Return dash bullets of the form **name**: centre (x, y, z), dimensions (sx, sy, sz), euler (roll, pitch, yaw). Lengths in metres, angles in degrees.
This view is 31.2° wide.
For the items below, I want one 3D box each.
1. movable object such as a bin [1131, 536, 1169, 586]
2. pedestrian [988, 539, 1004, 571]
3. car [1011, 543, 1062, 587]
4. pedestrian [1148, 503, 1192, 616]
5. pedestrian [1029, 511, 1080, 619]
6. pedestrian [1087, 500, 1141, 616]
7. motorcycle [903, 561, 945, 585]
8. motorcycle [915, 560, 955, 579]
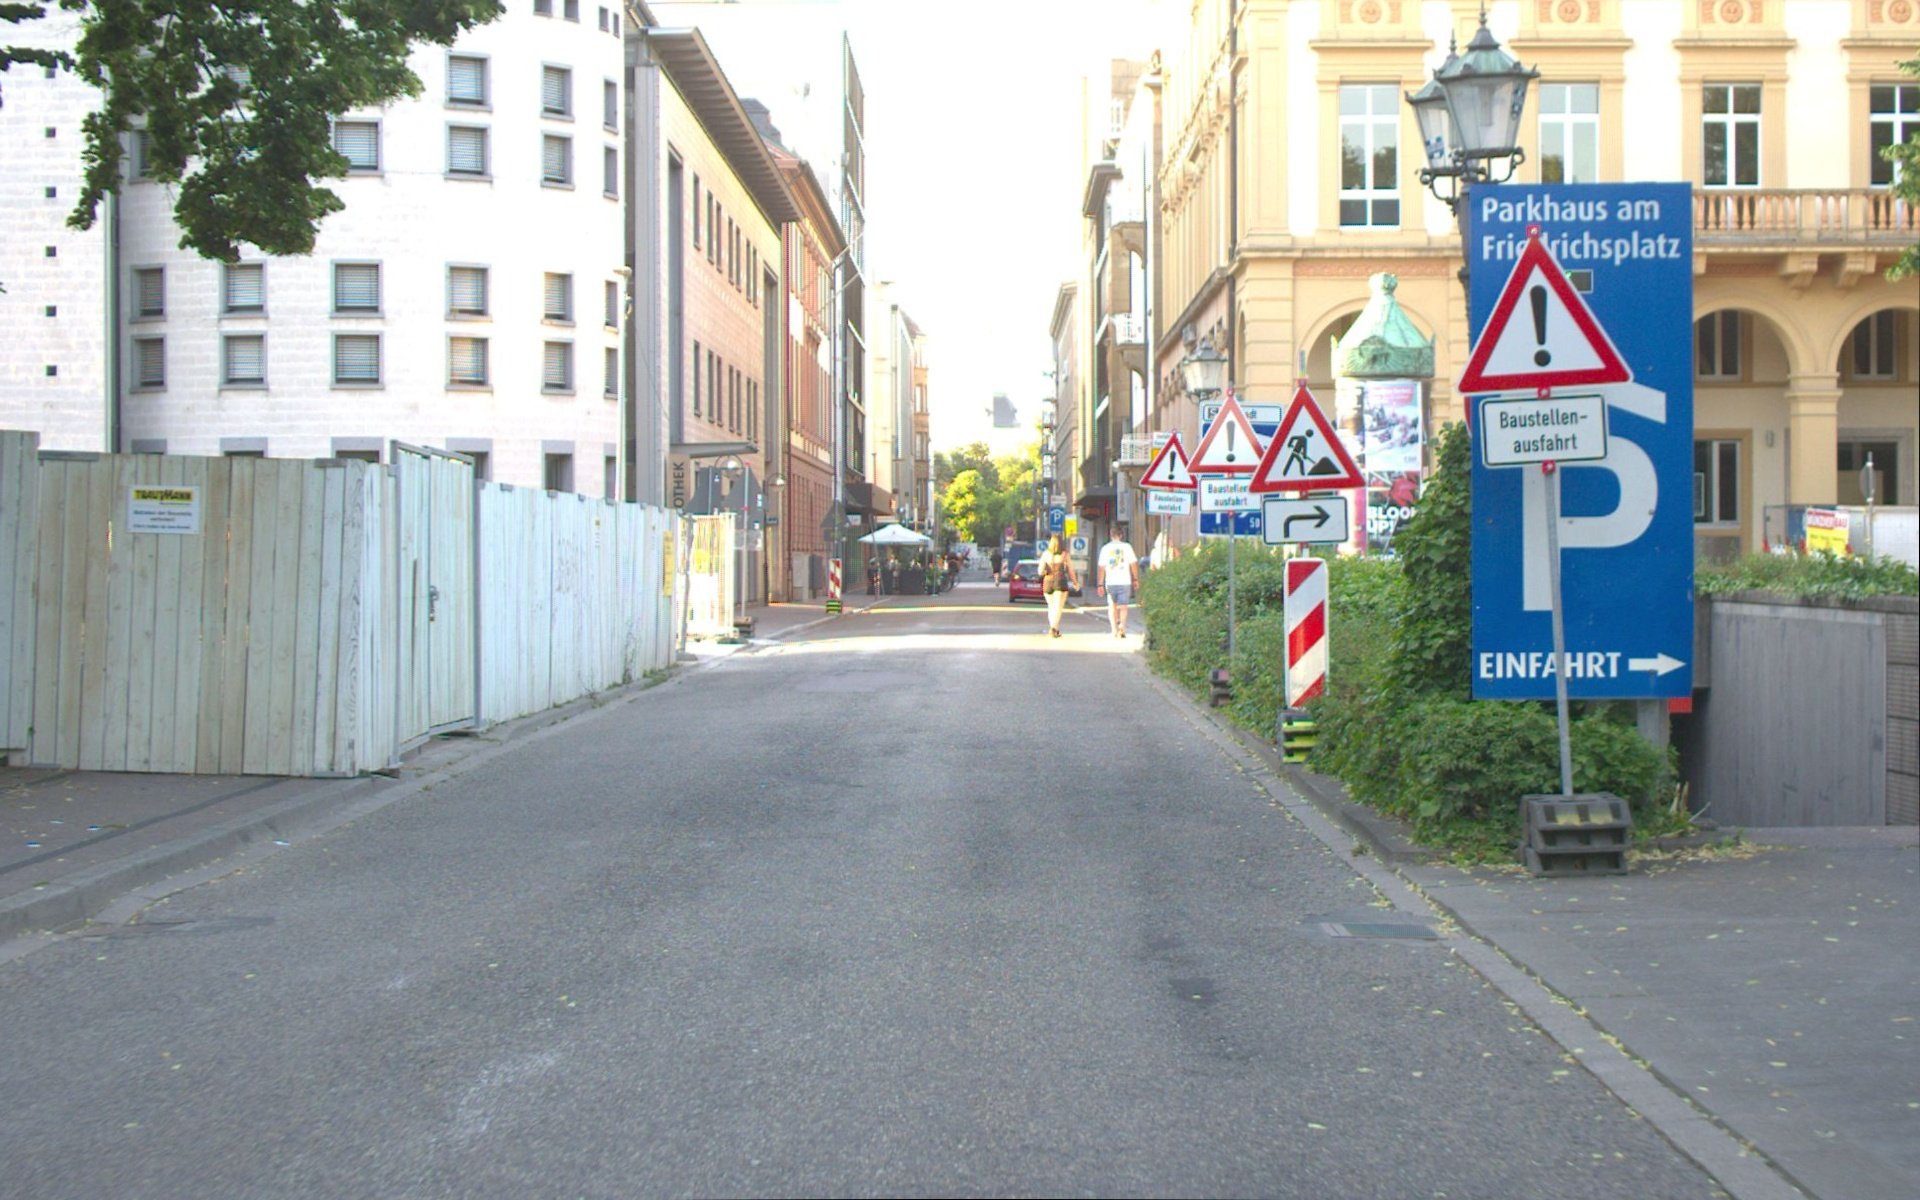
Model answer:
- **movable object such as a bin**: centre (5.341, -1.093, 96.807), dimensions (0.990, 1.387, 1.240), euler (-1, 0, 0)
- **pedestrian**: centre (1.899, -2.377, 181.030), dimensions (0.804, 1.667, 0.888), euler (0, 0, 3)
- **car**: centre (2.617, -1.187, 117.753), dimensions (1.649, 1.422, 3.535), euler (2, 0, 1)
- **pedestrian**: centre (3.369, -0.644, 55.272), dimensions (0.636, 1.797, 0.772), euler (-1, 0, 0)
- **pedestrian**: centre (1.542, -0.571, 56.299), dimensions (0.775, 1.740, 0.875), euler (-1, 0, 0)
- **pedestrian**: centre (2.523, -0.688, 56.510), dimensions (0.812, 1.869, 0.875), euler (-1, 0, 0)
- **motorcycle**: centre (-1.558, -1.173, 149.598), dimensions (1.801, 1.037, 0.494), euler (0, 0, -3)
- **motorcycle**: centre (-1.152, -1.416, 157.776), dimensions (1.801, 0.872, 0.560), euler (0, 0, -3)
